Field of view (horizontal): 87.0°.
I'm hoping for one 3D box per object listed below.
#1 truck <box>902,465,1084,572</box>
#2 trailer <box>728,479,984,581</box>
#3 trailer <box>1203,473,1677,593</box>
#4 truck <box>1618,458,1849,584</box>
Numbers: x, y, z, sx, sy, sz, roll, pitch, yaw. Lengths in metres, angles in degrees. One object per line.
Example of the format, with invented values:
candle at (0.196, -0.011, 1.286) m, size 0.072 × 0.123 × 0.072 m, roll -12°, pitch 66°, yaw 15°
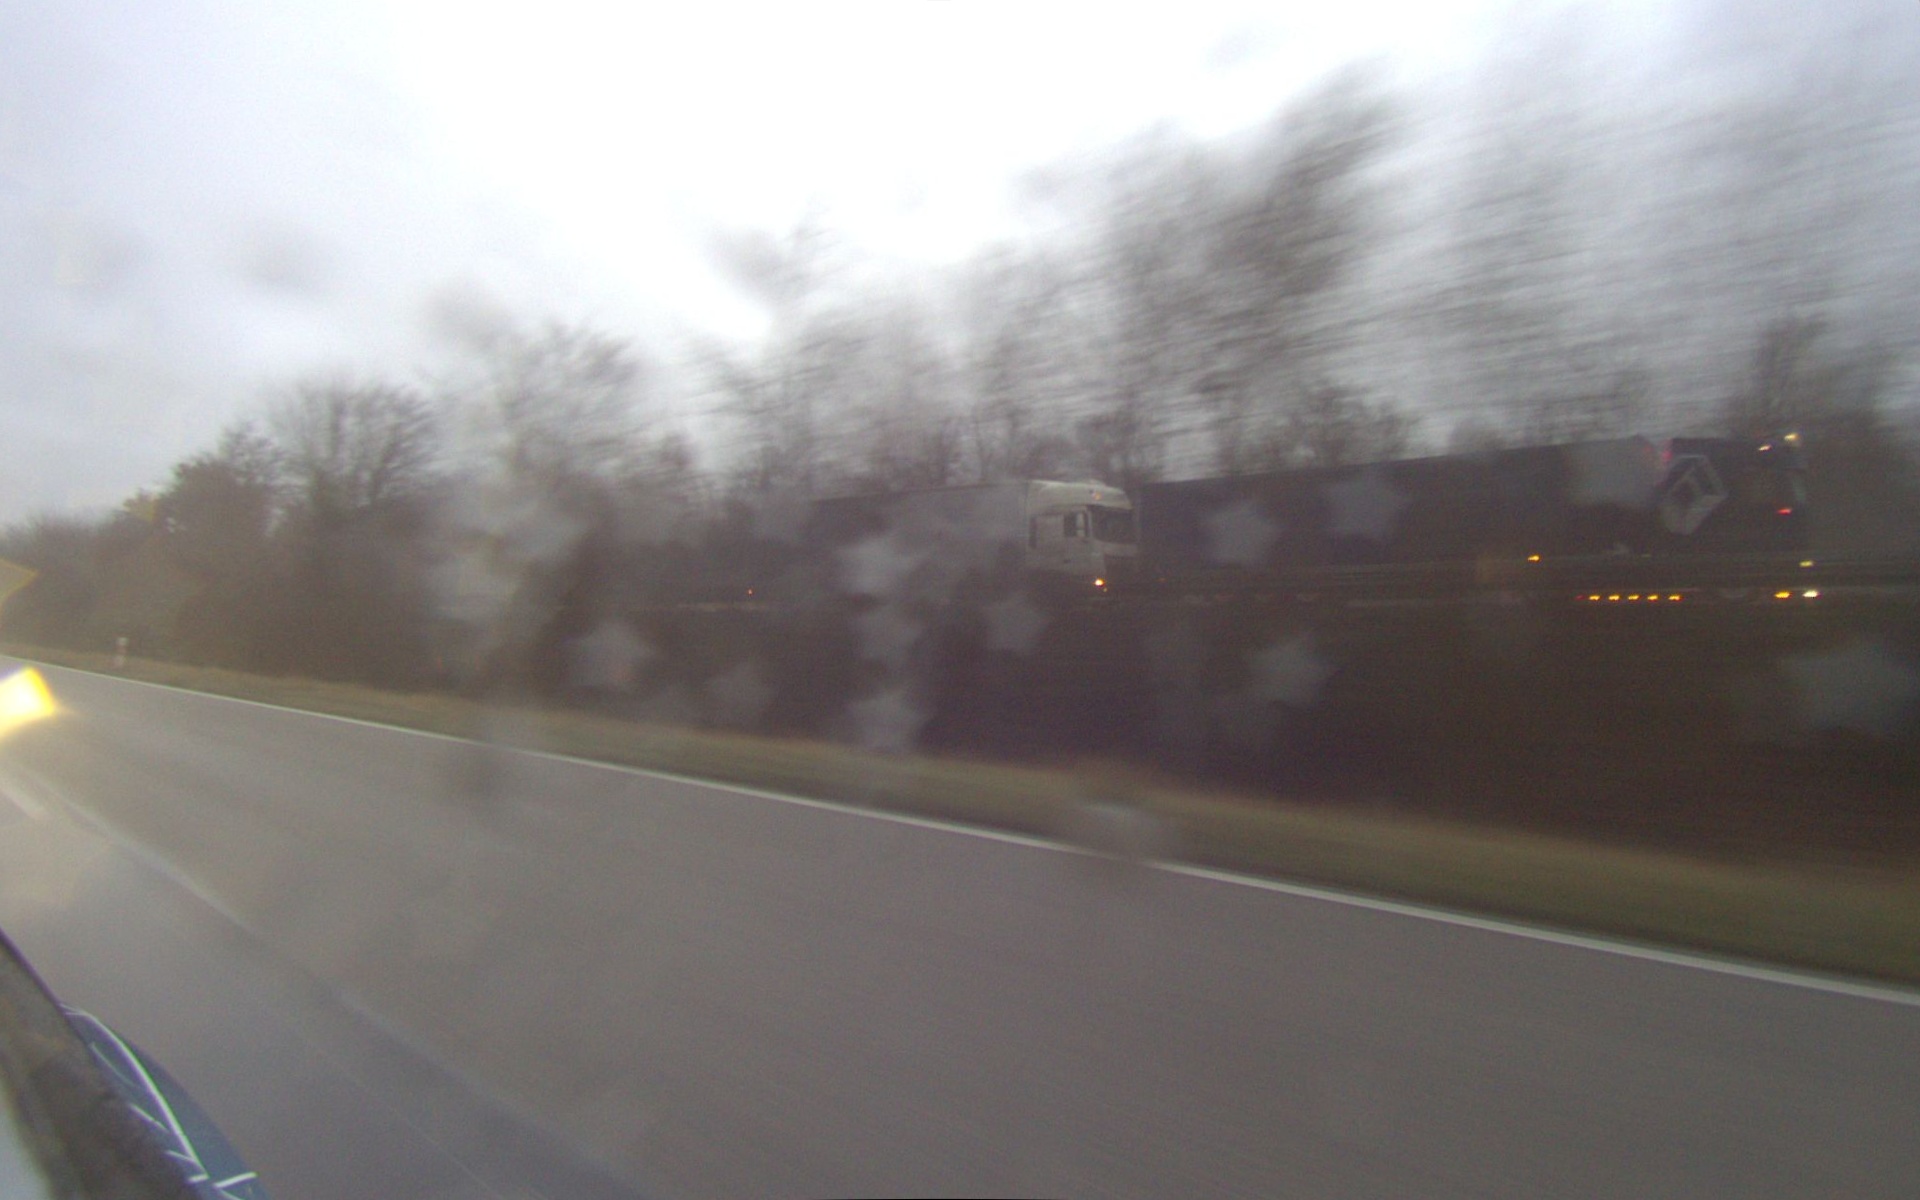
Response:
truck at (0.969, -2.474, 32.601) m, size 5.580 × 2.909 × 2.424 m, roll -1°, pitch -1°, yaw 41°
trailer at (-4.164, -2.339, 37.080) m, size 11.079 × 2.913 × 2.410 m, roll -1°, pitch -1°, yaw 41°
trailer at (12.450, -1.546, 27.701) m, size 11.497 × 2.443 × 2.482 m, roll -1°, pitch -2°, yaw 42°
truck at (17.638, -1.668, 23.163) m, size 3.998 × 2.454 × 2.503 m, roll -1°, pitch -2°, yaw 41°
